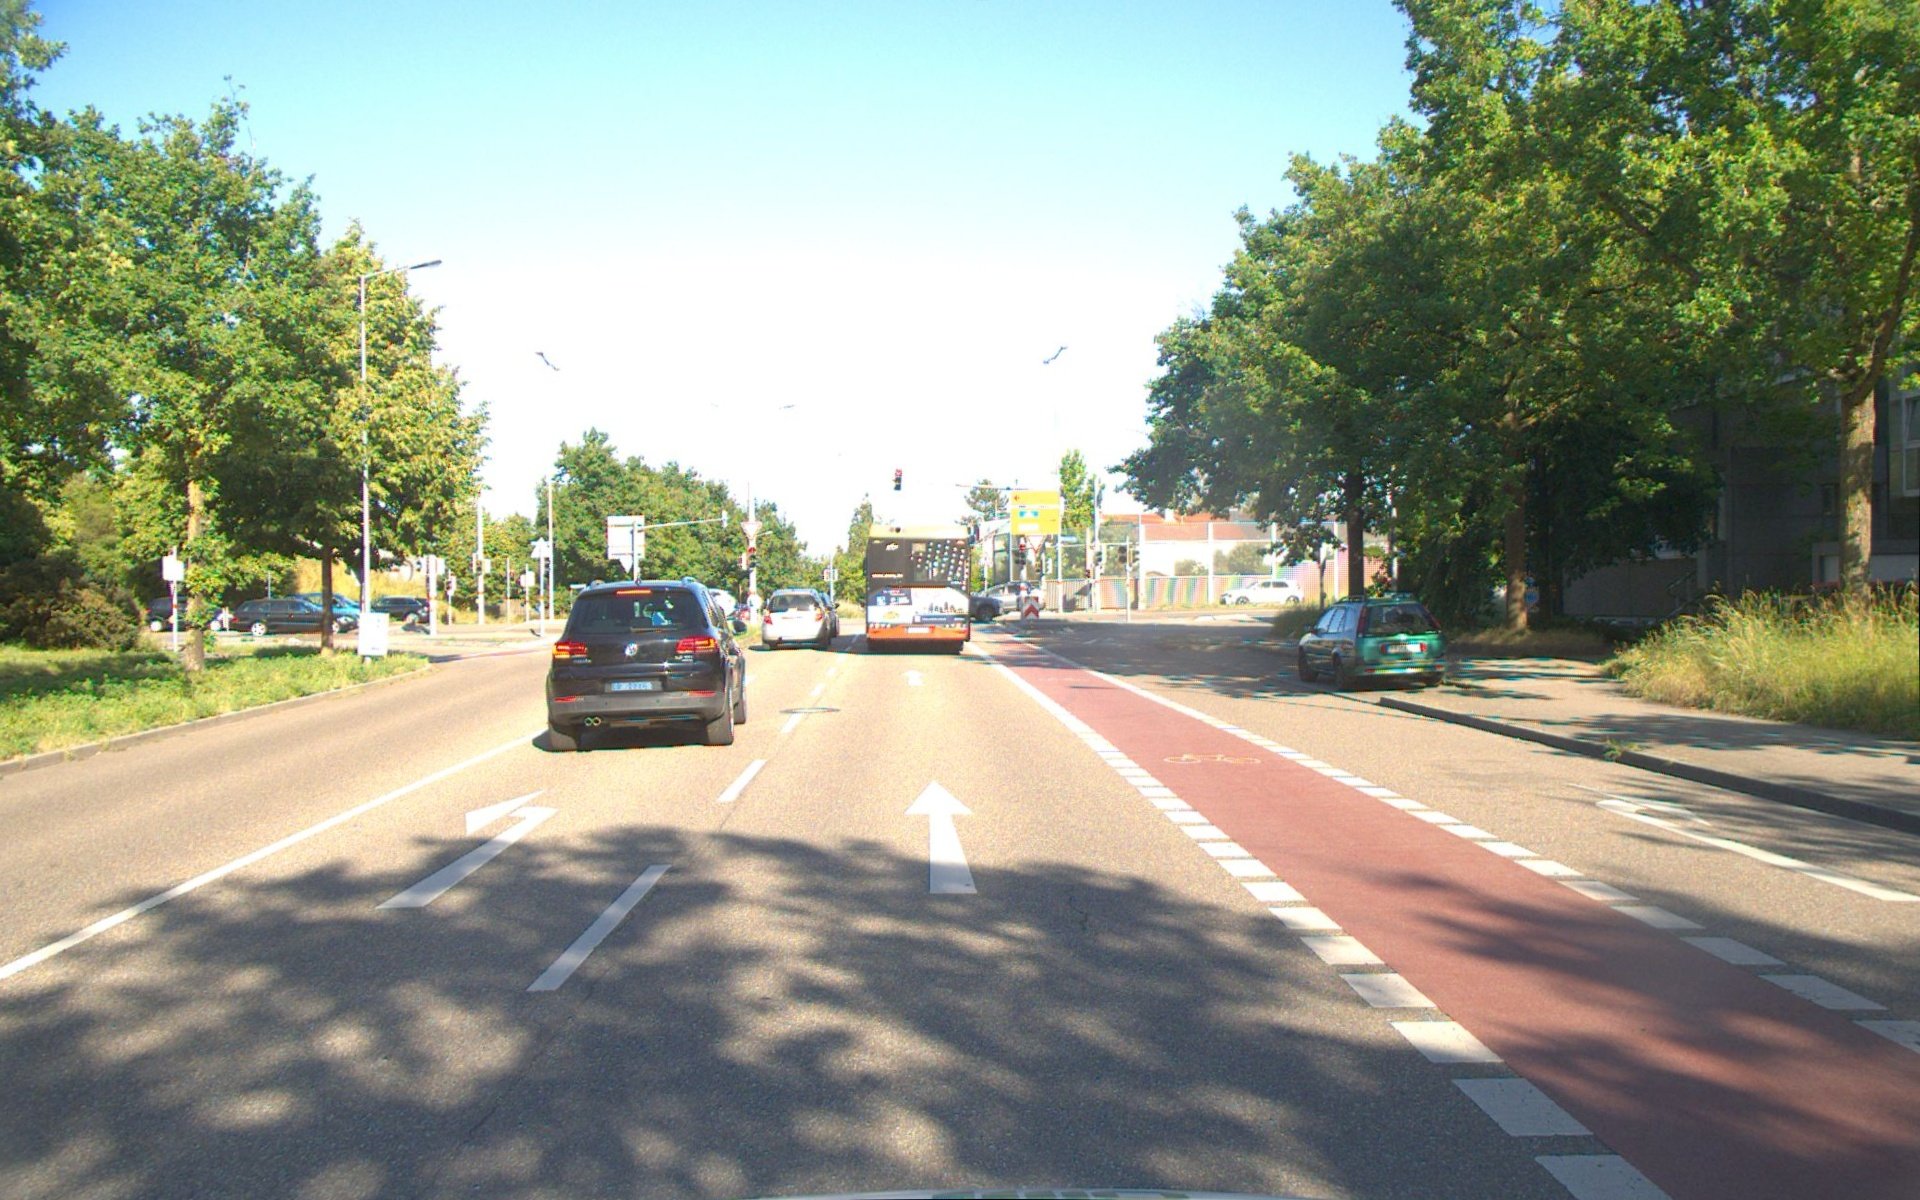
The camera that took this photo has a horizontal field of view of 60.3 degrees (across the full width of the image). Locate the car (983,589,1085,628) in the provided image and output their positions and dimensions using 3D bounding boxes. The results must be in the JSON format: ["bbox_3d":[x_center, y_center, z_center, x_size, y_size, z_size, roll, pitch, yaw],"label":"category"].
[{"bbox_3d":[2.594,0.276,57.598,3.447,1.325,1.576,0,0,7],"label":"car"}]

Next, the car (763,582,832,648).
[{"bbox_3d":[-4.478,0.373,45.261,1.721,1.648,4.027,-1,2,-8],"label":"car"}]

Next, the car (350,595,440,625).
[{"bbox_3d":[-26.944,0.476,78.980,3.821,1.363,1.678,0,-1,-11],"label":"car"}]

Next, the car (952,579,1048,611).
[{"bbox_3d":[2.023,-0.245,83.883,4.614,1.567,1.997,-1,0,-8],"label":"car"}]

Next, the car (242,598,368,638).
[{"bbox_3d":[-26.368,0.709,66.717,4.377,1.466,1.680,-1,1,-7],"label":"car"}]

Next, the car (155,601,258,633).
[{"bbox_3d":[-32.889,0.744,72.266,3.777,1.336,1.504,0,-1,-11],"label":"car"}]

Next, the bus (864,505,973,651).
[{"bbox_3d":[-1.166,-0.559,44.745,2.544,3.393,11.979,0,0,-2],"label":"bus"}]

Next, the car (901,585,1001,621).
[{"bbox_3d":[-0.407,0.145,70.681,4.140,1.506,1.761,0,-1,-7],"label":"car"}]

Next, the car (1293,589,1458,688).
[{"bbox_3d":[6.750,0.586,27.301,1.560,1.453,4.203,-2,0,-1],"label":"car"}]

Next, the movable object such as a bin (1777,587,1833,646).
[{"bbox_3d":[15.242,0.294,29.856,0.698,1.050,0.581,-1,0,-2],"label":"movable object such as a bin"}]

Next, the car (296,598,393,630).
[{"bbox_3d":[-27.329,0.619,73.492,3.777,1.409,1.678,0,-1,-11],"label":"car"}]

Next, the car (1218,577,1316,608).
[{"bbox_3d":[15.873,-0.388,85.683,4.611,1.567,1.998,-1,0,-6],"label":"car"}]

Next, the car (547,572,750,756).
[{"bbox_3d":[-3.210,0.623,17.695,1.786,1.703,3.997,-1,-1,-6],"label":"car"}]

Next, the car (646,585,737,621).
[{"bbox_3d":[-13.170,0.157,81.316,4.299,1.713,1.709,0,-1,-7],"label":"car"}]

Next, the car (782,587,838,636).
[{"bbox_3d":[-4.871,0.374,54.167,1.556,1.511,3.681,-1,0,-1],"label":"car"}]
